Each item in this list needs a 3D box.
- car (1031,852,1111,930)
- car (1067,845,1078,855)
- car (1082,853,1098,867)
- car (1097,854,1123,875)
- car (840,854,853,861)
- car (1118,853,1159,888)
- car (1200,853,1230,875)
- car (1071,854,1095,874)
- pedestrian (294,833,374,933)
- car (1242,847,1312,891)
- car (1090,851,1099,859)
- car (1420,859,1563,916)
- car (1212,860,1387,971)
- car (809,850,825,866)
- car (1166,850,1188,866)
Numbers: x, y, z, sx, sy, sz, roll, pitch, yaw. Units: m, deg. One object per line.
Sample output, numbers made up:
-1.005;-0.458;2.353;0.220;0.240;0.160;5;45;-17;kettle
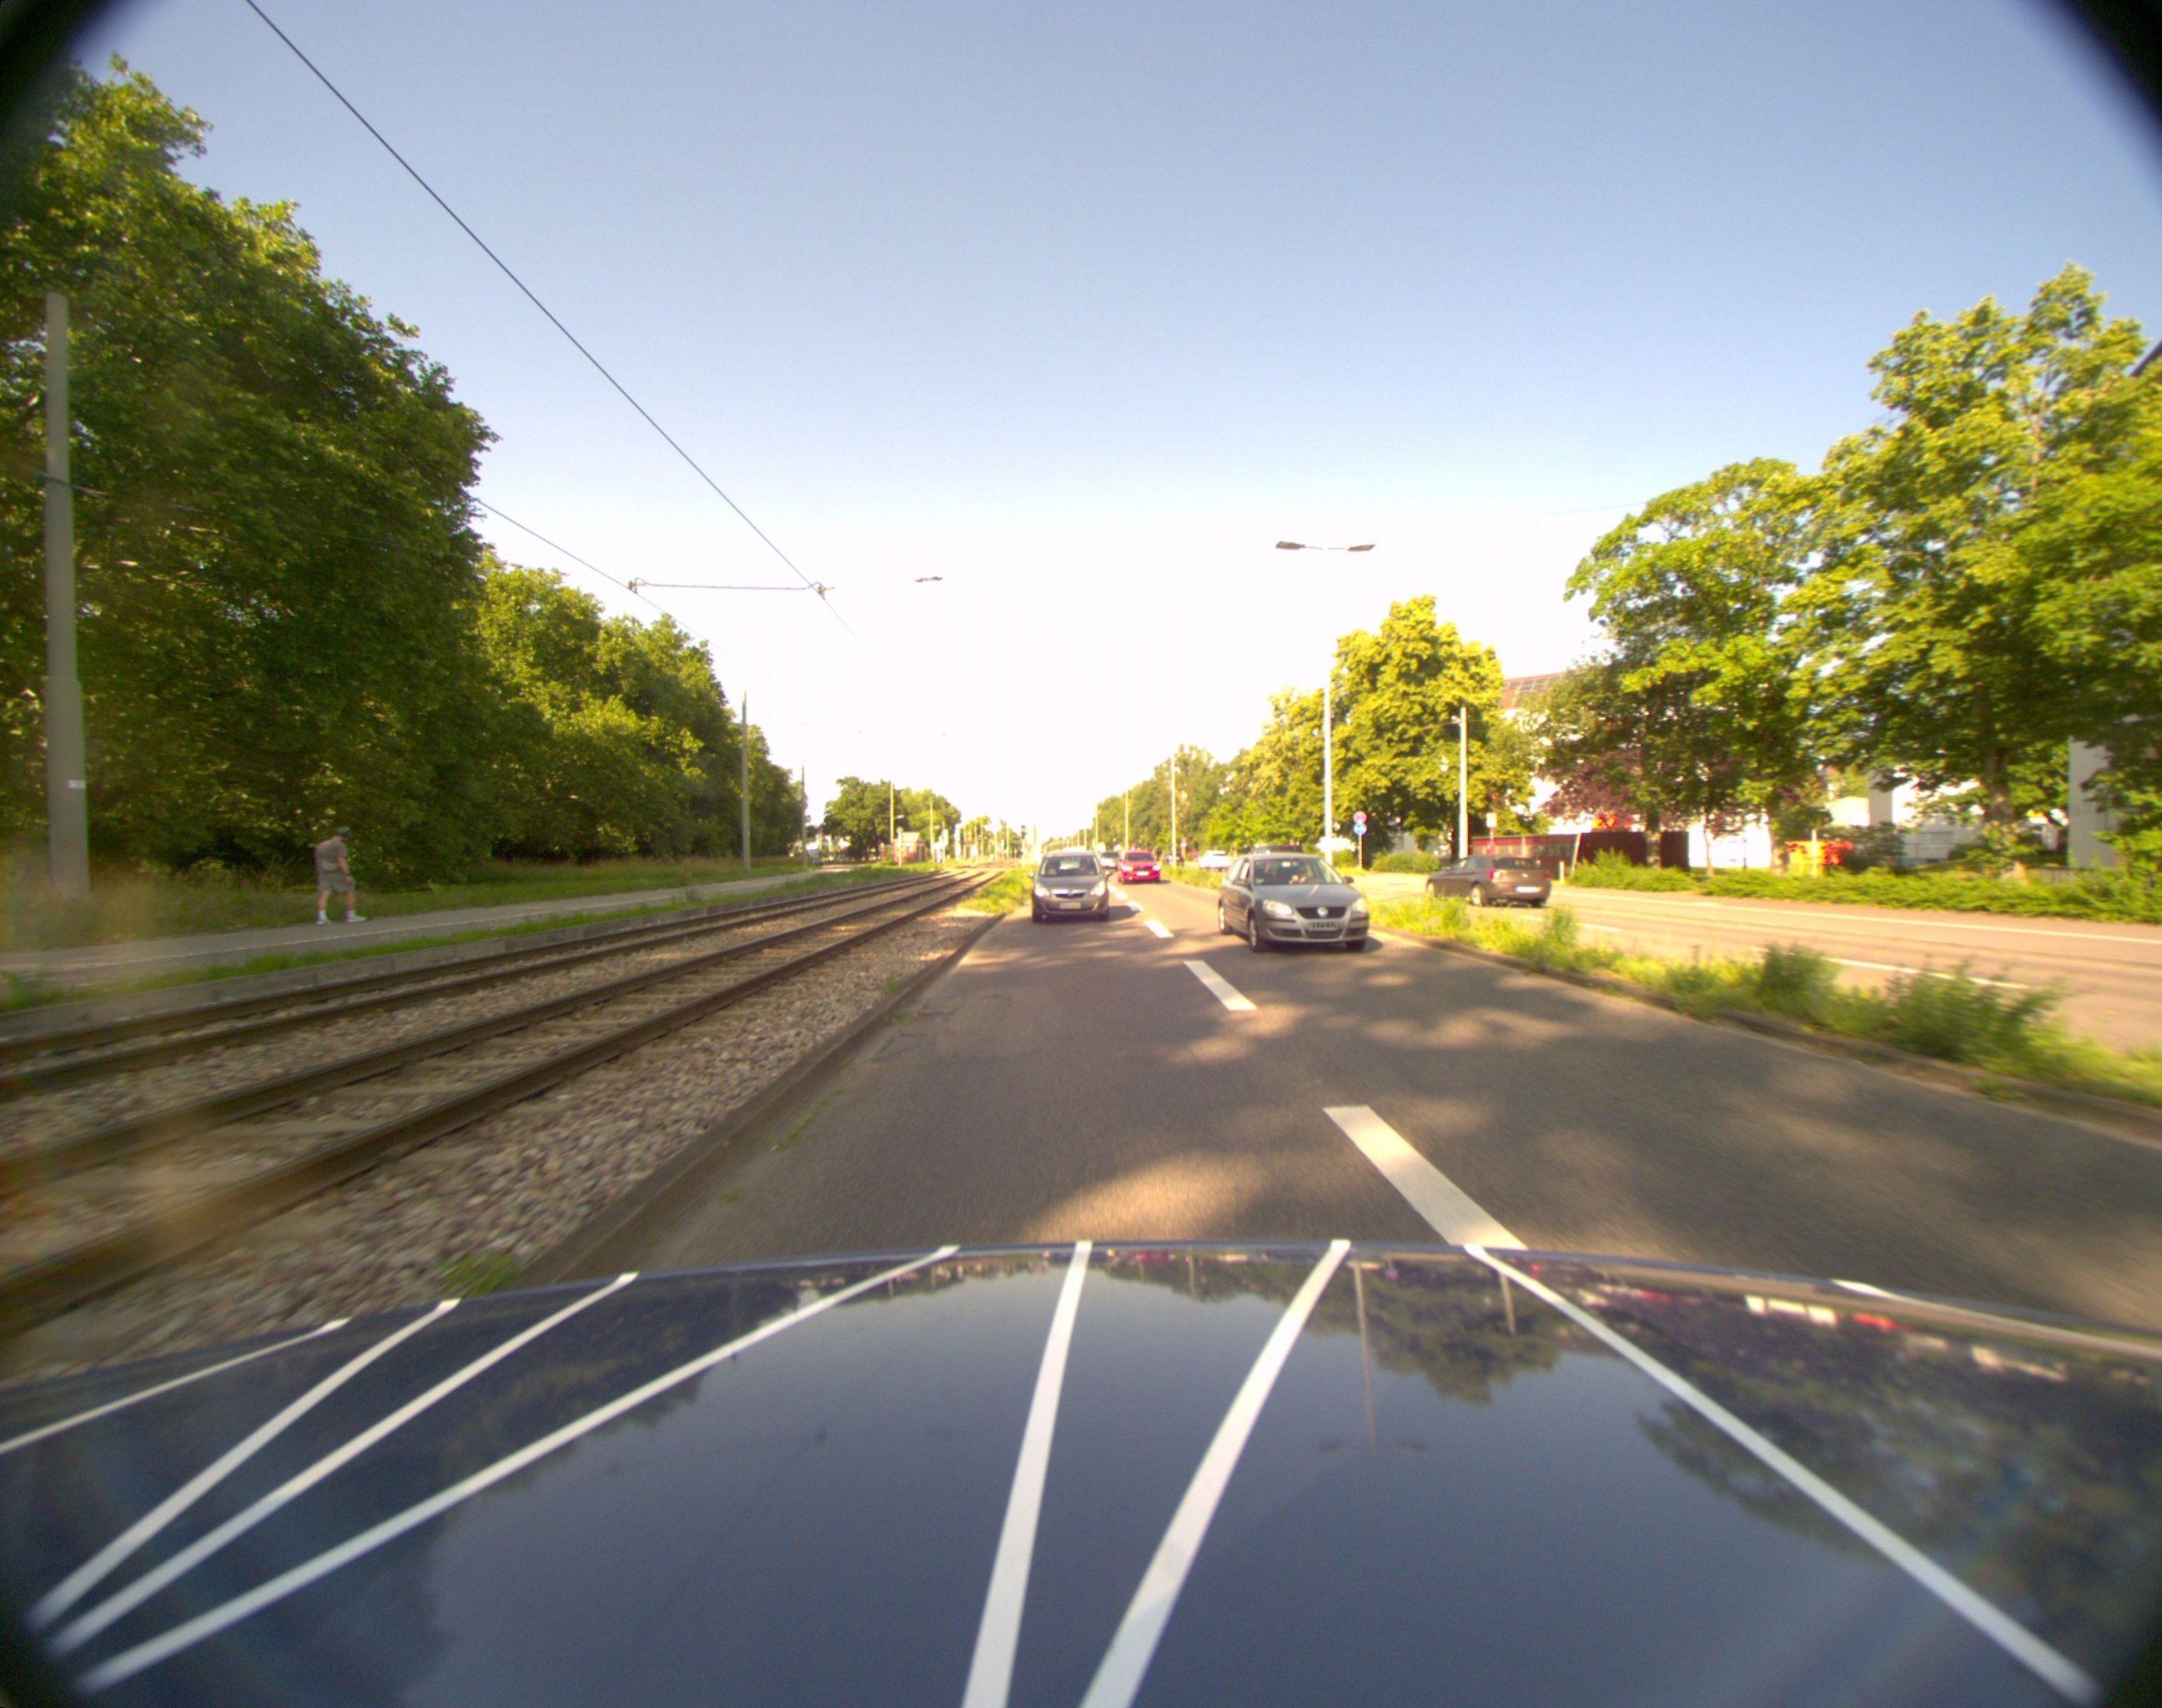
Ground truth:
-0.236;0.786;18.049;1.650;1.581;3.832;-2;0;-1;car
-1.398;-0.666;125.500;1.710;1.513;3.832;-2;0;-2;car
1.031;0.766;93.667;1.774;1.669;4.048;1;0;-2;car
2.276;0.822;60.524;1.710;1.513;3.832;-2;0;-2;car
-47.059;0.784;152.739;1.809;1.384;3.776;0;0;-28;car
2.766;0.757;37.219;1.692;1.573;3.833;-2;0;0;car
10.720;0.785;61.076;1.664;1.669;4.514;1;0;0;car
0.101;0.751;59.132;1.710;1.513;3.832;-2;0;-2;car
-13.202;0.500;13.452;0.501;1.706;0.885;0;1;5;pedestrian
8.236;0.588;32.341;1.795;1.774;4.480;0;0;0;car
3.068;0.201;172.845;1.774;1.669;4.048;1;0;-2;car
11.395;0.859;21.484;1.728;1.411;4.325;0;0;0;car
3.295;0.851;12.231;1.692;1.420;3.833;-2;0;0;car
-43.986;0.637;126.511;1.863;2.506;3.853;-3;1;-27;car
10.302;0.417;82.054;1.774;1.669;4.048;0;0;-2;car
